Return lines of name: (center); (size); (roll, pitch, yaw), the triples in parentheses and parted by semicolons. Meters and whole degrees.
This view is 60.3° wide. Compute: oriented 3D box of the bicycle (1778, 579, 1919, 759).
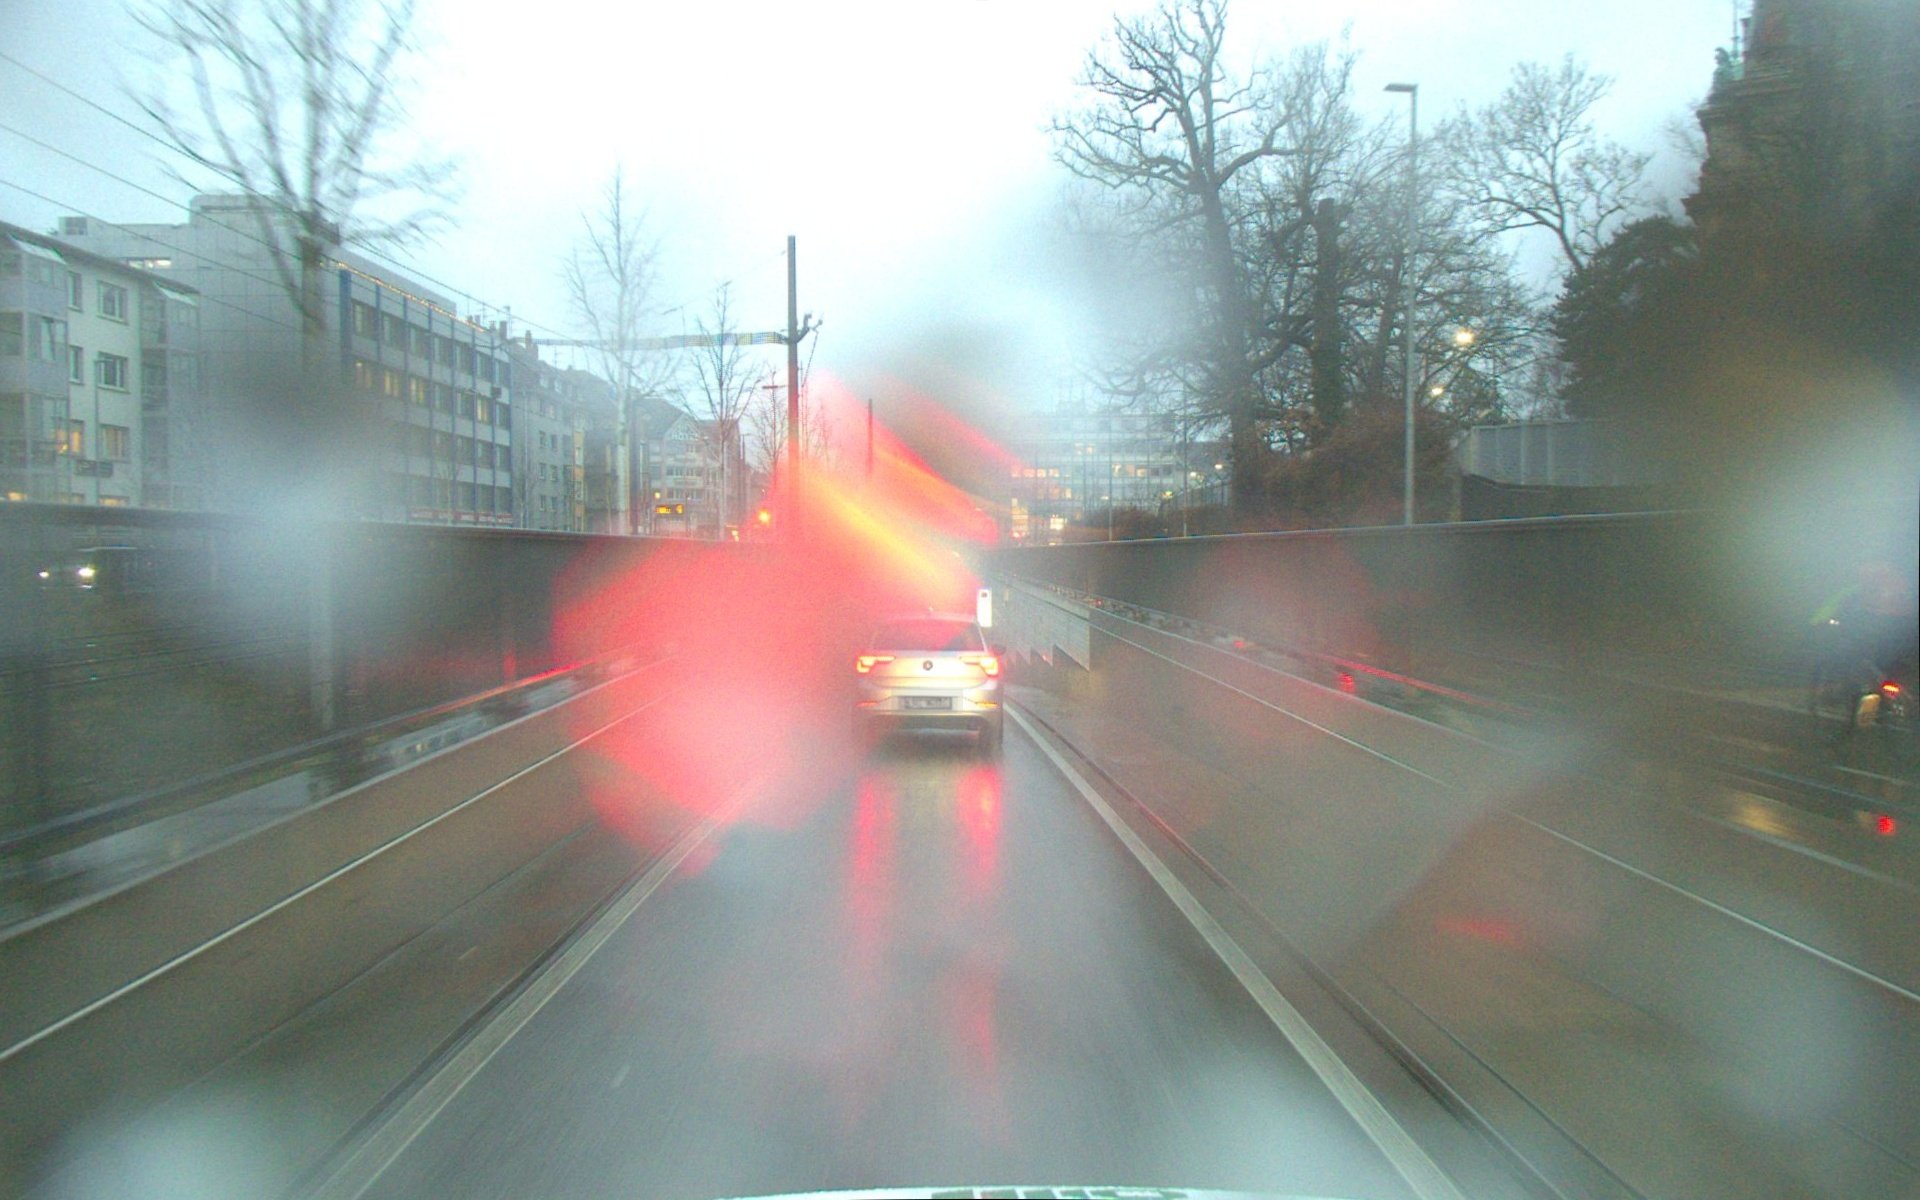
bicycle: (6.842, 0.472, 12.387); (0.403, 1.205, 1.948); (0, 2, -2)

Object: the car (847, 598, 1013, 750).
car: (-0.279, 0.771, 19.223); (1.687, 1.505, 4.001); (2, 0, 1)

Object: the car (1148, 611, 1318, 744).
car: (3.608, 0.975, 22.498); (1.687, 1.505, 4.001); (2, 1, 1)

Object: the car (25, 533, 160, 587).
car: (-27.715, -1.292, 53.034); (1.952, 1.659, 4.430); (0, 2, 0)

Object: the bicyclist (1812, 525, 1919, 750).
bicyclist: (6.846, 0.258, 12.363); (0.490, 1.619, 0.837); (0, 2, -2)
